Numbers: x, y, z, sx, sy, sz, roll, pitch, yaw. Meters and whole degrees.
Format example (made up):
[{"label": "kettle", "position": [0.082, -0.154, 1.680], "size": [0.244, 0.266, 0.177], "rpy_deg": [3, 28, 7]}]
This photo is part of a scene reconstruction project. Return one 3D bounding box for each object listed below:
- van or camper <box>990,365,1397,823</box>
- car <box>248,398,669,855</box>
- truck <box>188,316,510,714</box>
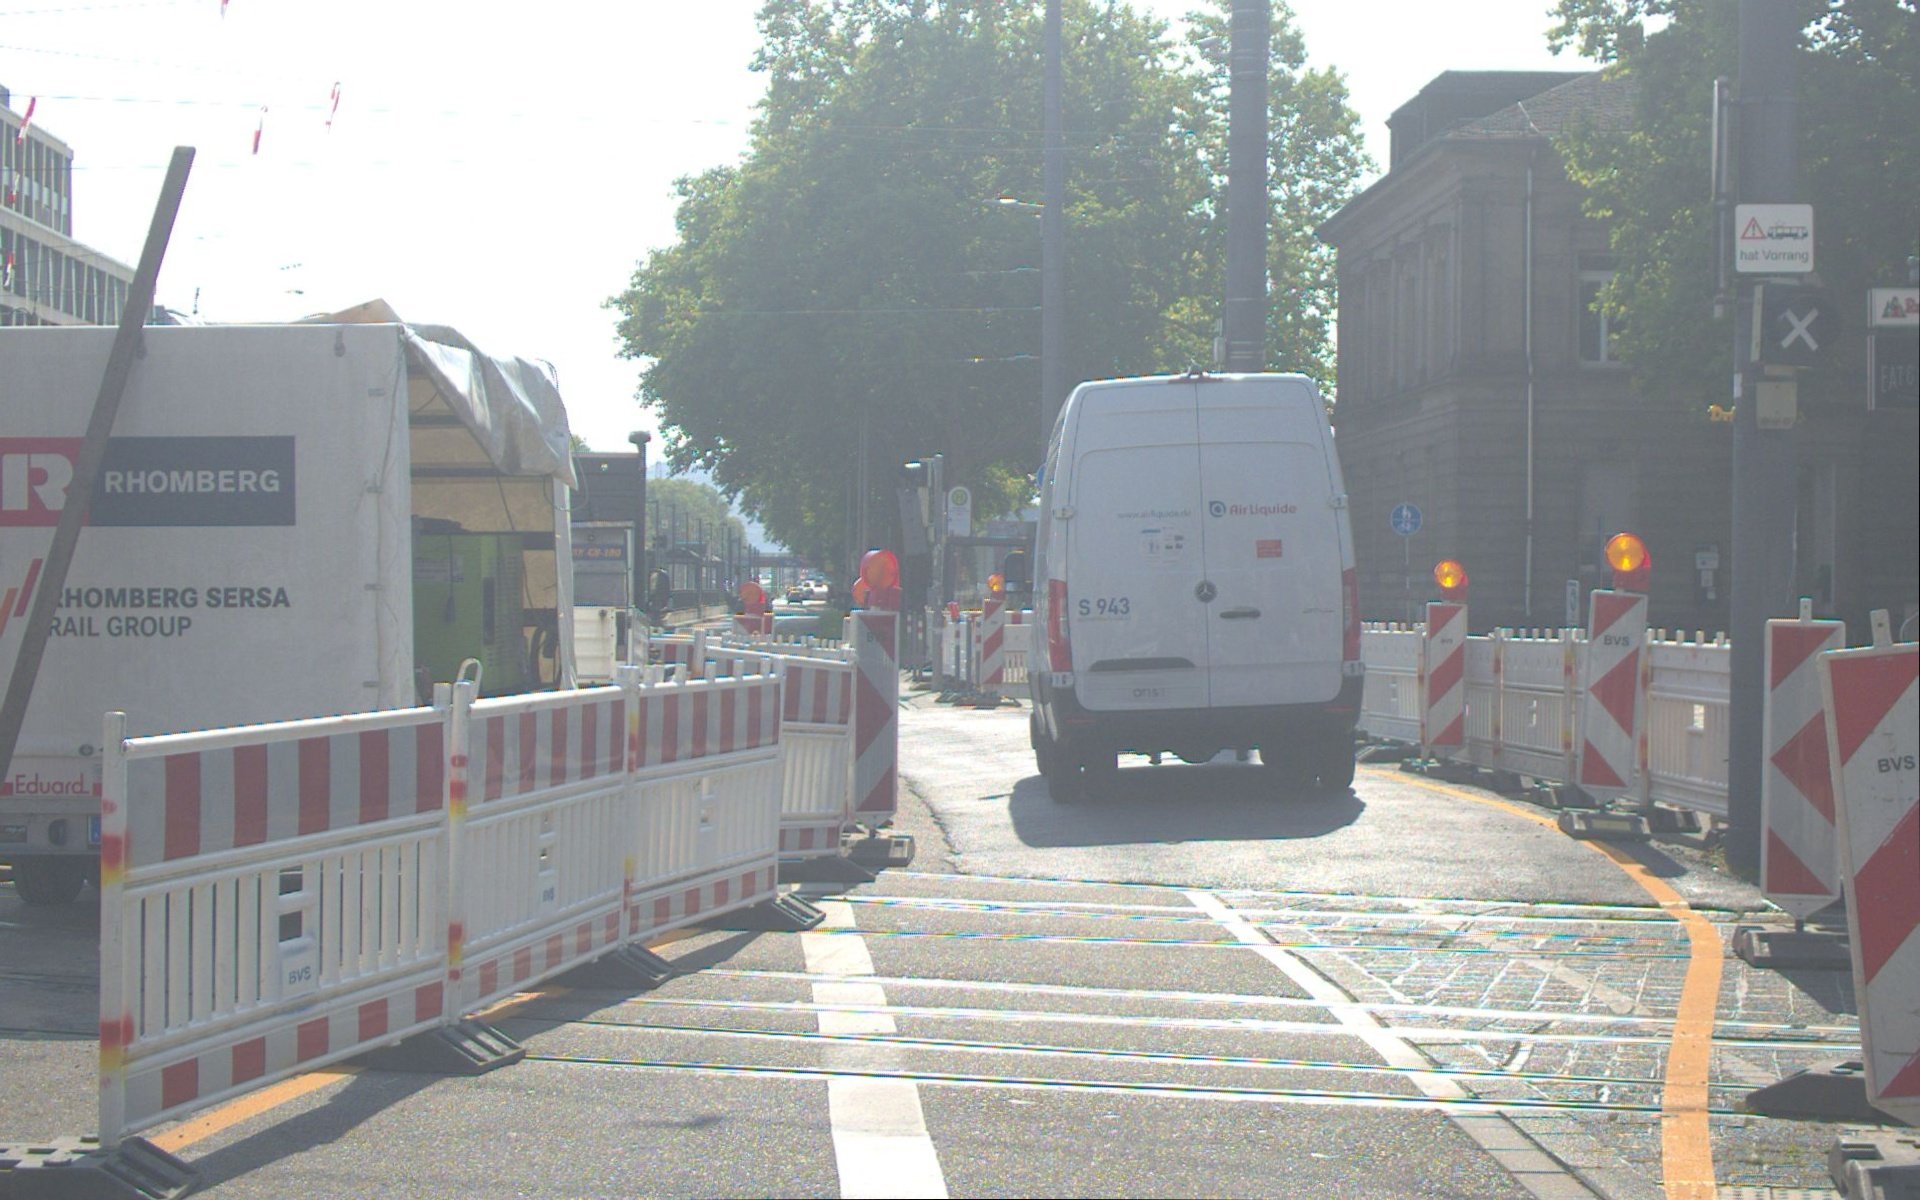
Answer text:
[{"label": "van or camper", "position": [1.422, -0.061, 23.168], "size": [2.115, 2.673, 5.251], "rpy_deg": [-2, 1, -2]}, {"label": "car", "position": [-2.980, 0.161, 21.883], "size": [2.207, 2.416, 7.200], "rpy_deg": [0, 0, -5]}, {"label": "truck", "position": [-7.051, -0.888, 38.687], "size": [2.791, 3.899, 8.421], "rpy_deg": [2, 0, -15]}]
